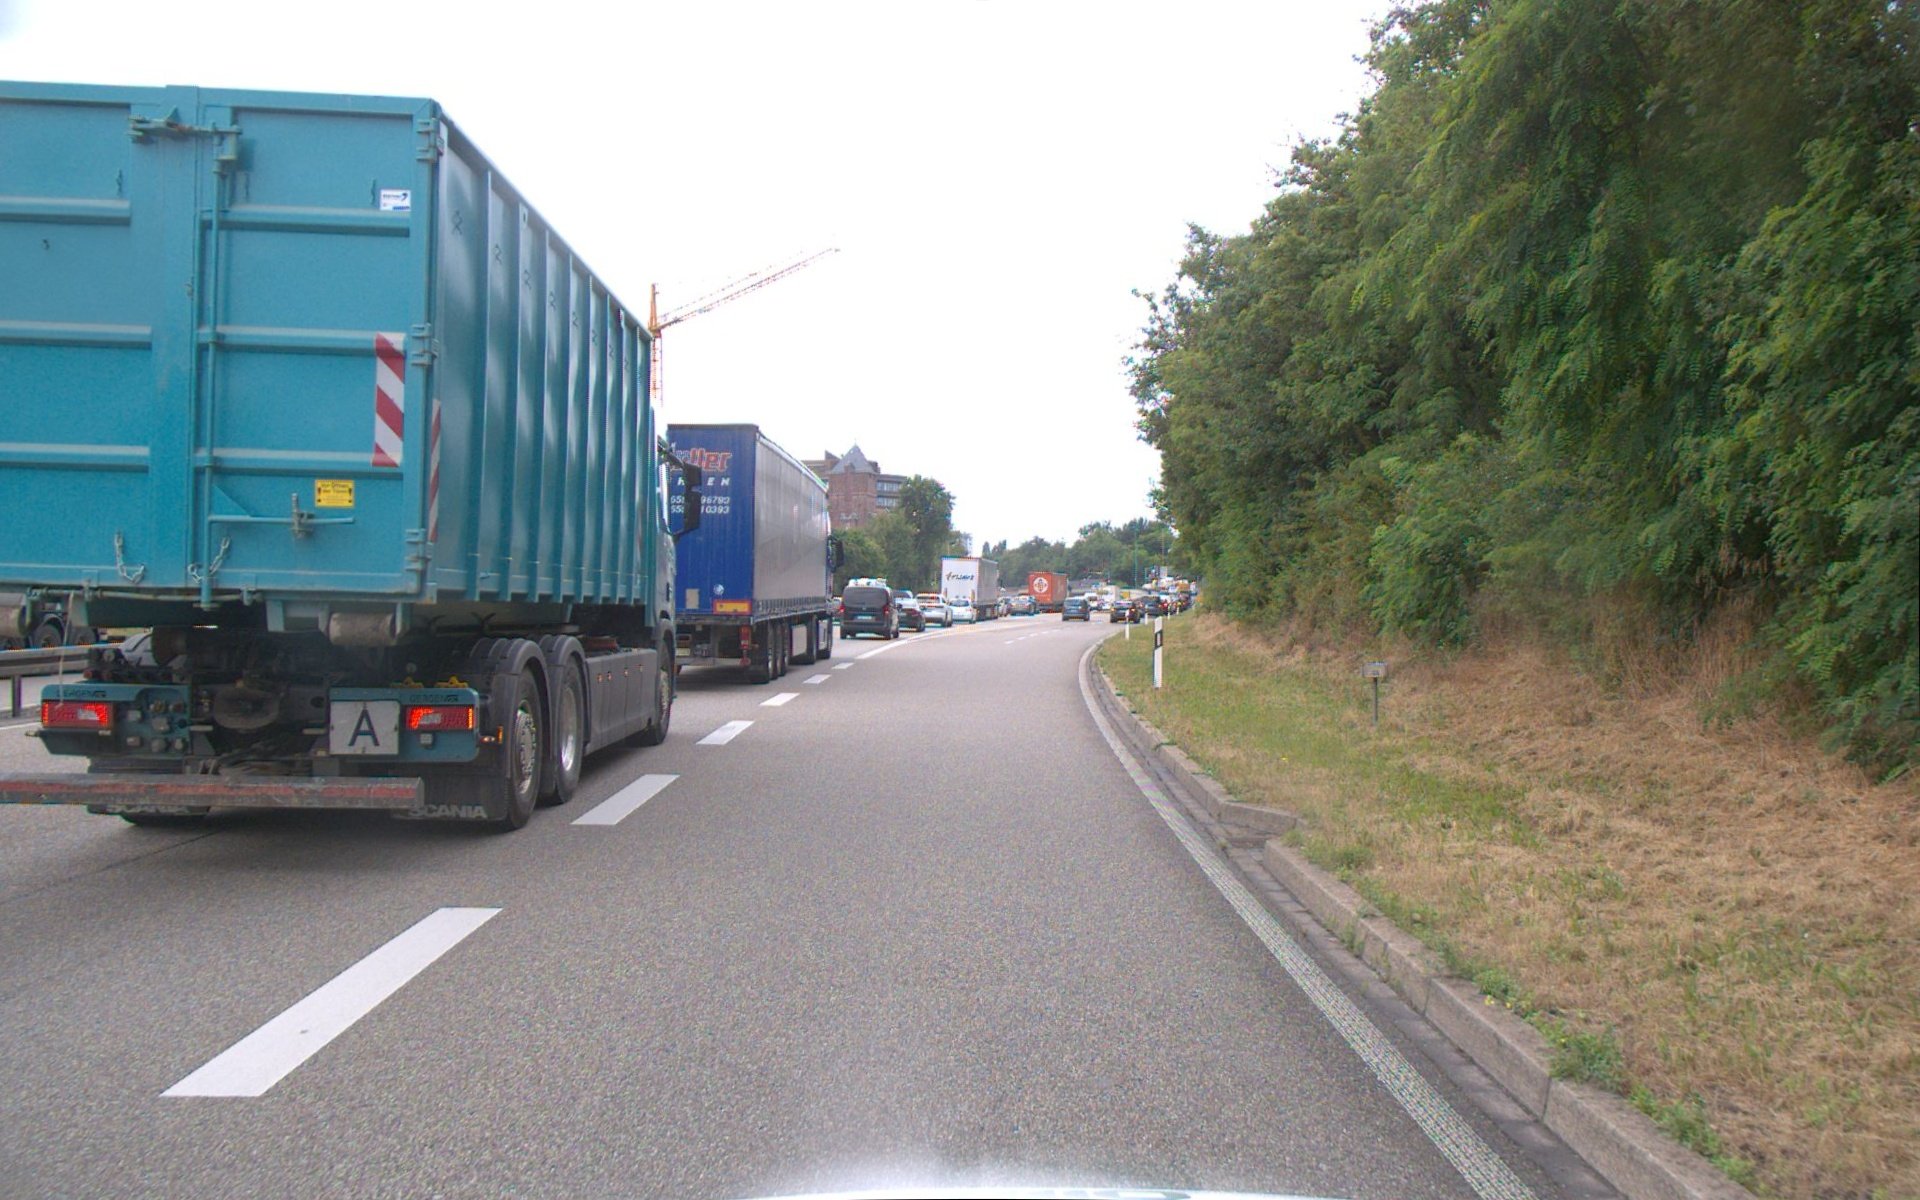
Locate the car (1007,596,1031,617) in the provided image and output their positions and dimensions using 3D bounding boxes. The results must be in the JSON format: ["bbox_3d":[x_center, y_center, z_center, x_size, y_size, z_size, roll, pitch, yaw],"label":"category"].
[{"bbox_3d":[5.119,0.563,143.272,1.681,1.713,4.003,1,-1,8],"label":"car"}]

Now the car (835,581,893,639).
[{"bbox_3d":[-3.523,0.371,60.881,1.948,1.931,4.981,-3,0,-3],"label":"car"}]

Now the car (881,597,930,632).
[{"bbox_3d":[-2.395,0.656,74.217,1.809,1.485,4.832,1,0,2],"label":"car"}]

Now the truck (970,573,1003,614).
[{"bbox_3d":[2.925,-0.585,178.060,2.681,4.211,10.703,1,-1,5],"label":"truck"}]

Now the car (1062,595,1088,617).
[{"bbox_3d":[8.182,0.429,117.201,1.786,1.508,4.002,0,0,5],"label":"car"}]

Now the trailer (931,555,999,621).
[{"bbox_3d":[0.443,-0.675,111.222,3.229,4.107,13.106,1,0,6],"label":"trailer"}]

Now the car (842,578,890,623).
[{"bbox_3d":[-5.587,0.007,98.931,1.951,2.598,5.366,0,0,6],"label":"car"}]

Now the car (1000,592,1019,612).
[{"bbox_3d":[5.241,0.237,174.620,1.779,2.049,4.003,0,0,6],"label":"car"}]

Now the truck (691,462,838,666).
[{"bbox_3d":[-4.250,-0.711,37.229,2.509,4.113,6.588,1,-1,-1],"label":"truck"}]

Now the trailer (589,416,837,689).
[{"bbox_3d":[-4.257,-0.665,31.902,2.572,4.093,13.463,1,0,0],"label":"trailer"}]

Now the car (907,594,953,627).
[{"bbox_3d":[-1.551,0.536,86.990,1.915,1.724,4.868,0,0,5],"label":"car"}]

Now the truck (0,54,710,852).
[{"bbox_3d":[-4.190,-0.727,13.690,2.870,3.863,11.326,0,0,-2],"label":"truck"}]

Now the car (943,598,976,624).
[{"bbox_3d":[-0.015,0.626,98.373,1.727,1.504,4.091,0,0,3],"label":"car"}]

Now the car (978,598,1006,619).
[{"bbox_3d":[2.592,0.687,132.599,1.761,1.632,4.261,1,-1,8],"label":"car"}]

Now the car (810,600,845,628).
[{"bbox_3d":[-6.911,0.709,86.537,1.411,1.411,3.049,0,0,3],"label":"car"}]

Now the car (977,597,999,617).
[{"bbox_3d":[2.226,0.532,132.346,1.498,1.579,3.420,0,0,5],"label":"car"}]

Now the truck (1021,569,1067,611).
[{"bbox_3d":[8.915,-1.018,173.760,3.415,4.144,13.603,0,0,9],"label":"truck"}]

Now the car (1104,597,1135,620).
[{"bbox_3d":[10.836,0.574,112.136,1.786,1.508,4.003,0,0,11],"label":"car"}]

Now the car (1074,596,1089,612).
[{"bbox_3d":[15.286,0.475,208.263,1.580,1.982,3.708,1,-1,9],"label":"car"}]

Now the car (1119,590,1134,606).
[{"bbox_3d":[21.304,-0.267,211.688,1.909,2.049,4.003,0,0,6],"label":"car"}]

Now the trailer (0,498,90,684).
[{"bbox_3d":[-19.042,-0.153,27.708,2.420,3.455,12.461,0,0,0],"label":"trailer"}]
